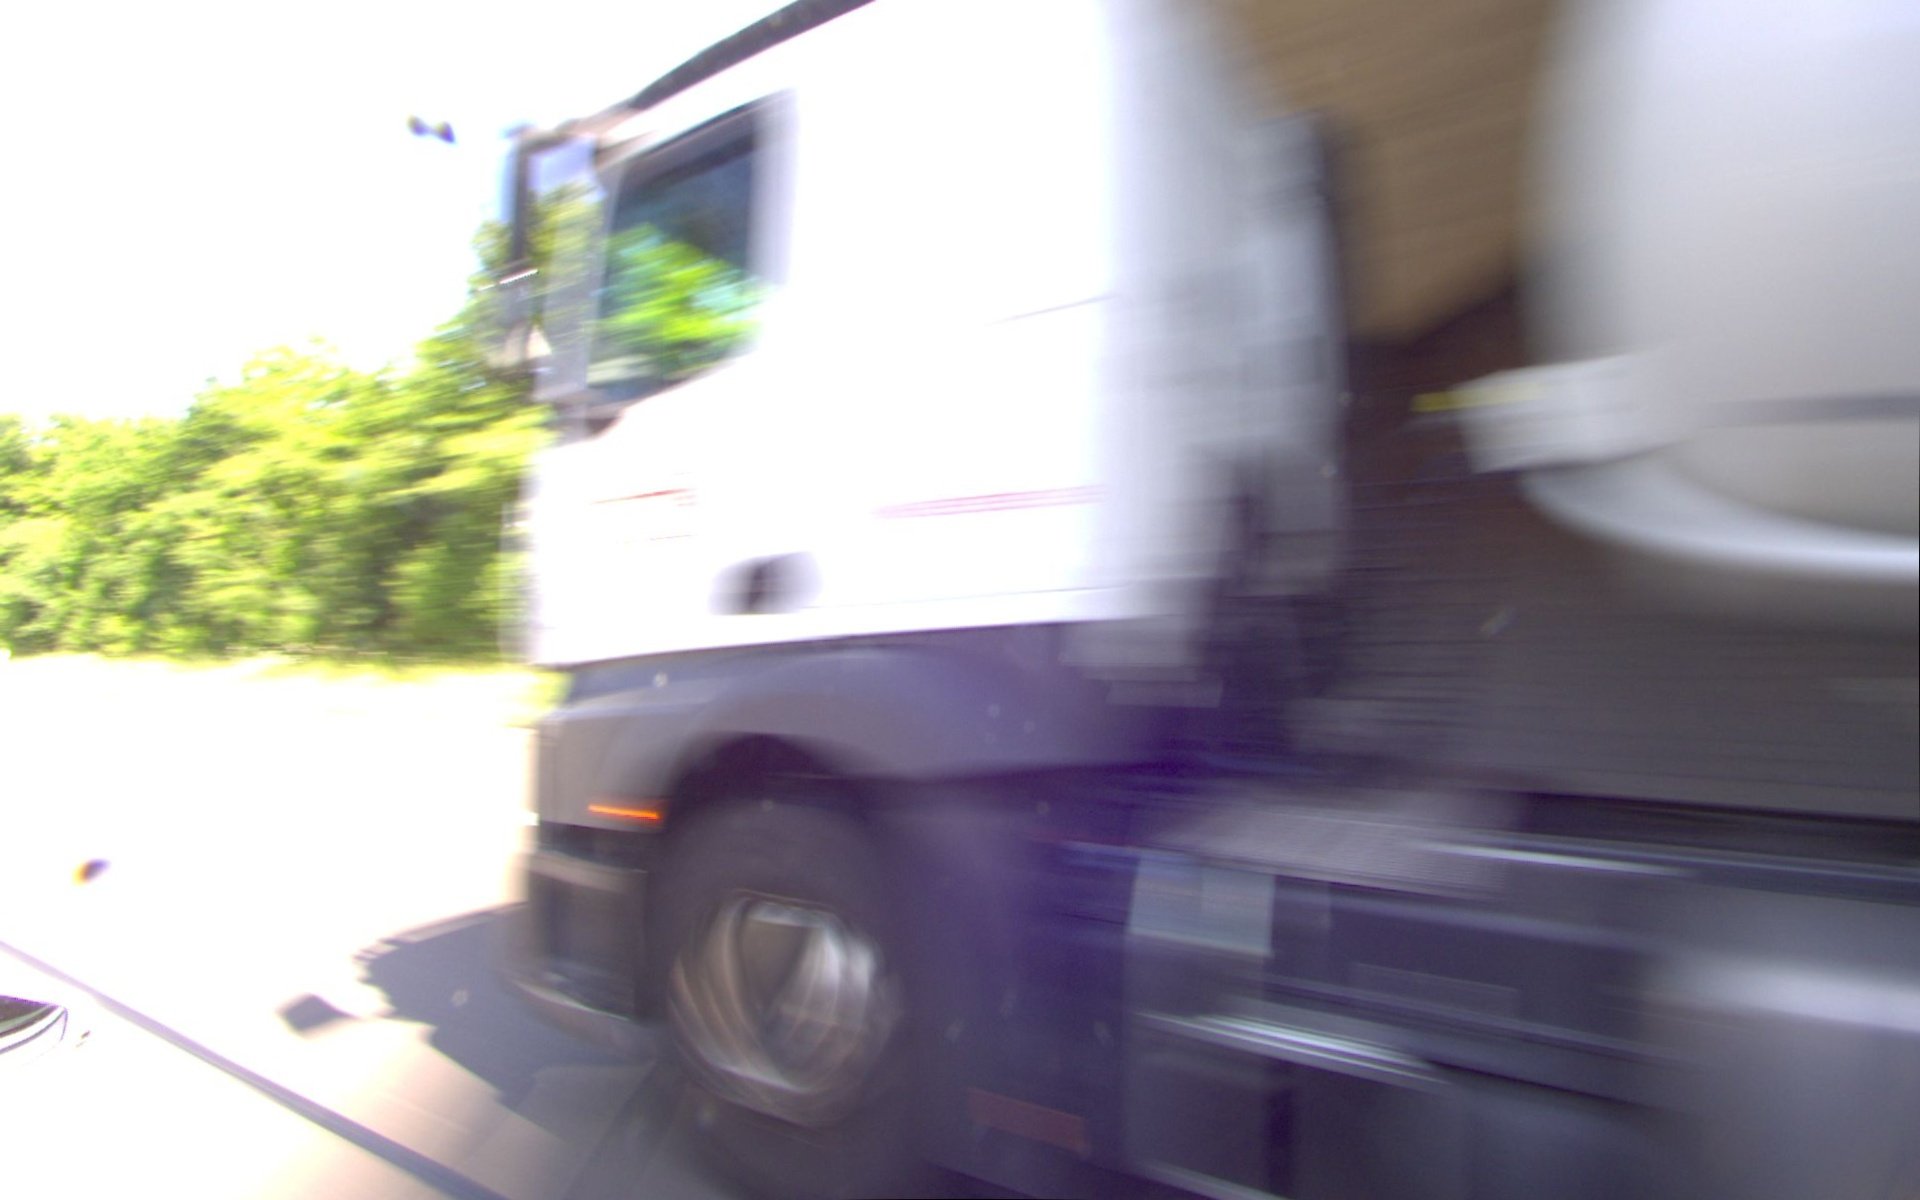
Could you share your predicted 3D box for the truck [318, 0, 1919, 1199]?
[{"bbox_3d":[1.180,-0.151,2.862,6.395,3.418,2.633,-1,-2,32],"label":"truck"}]
